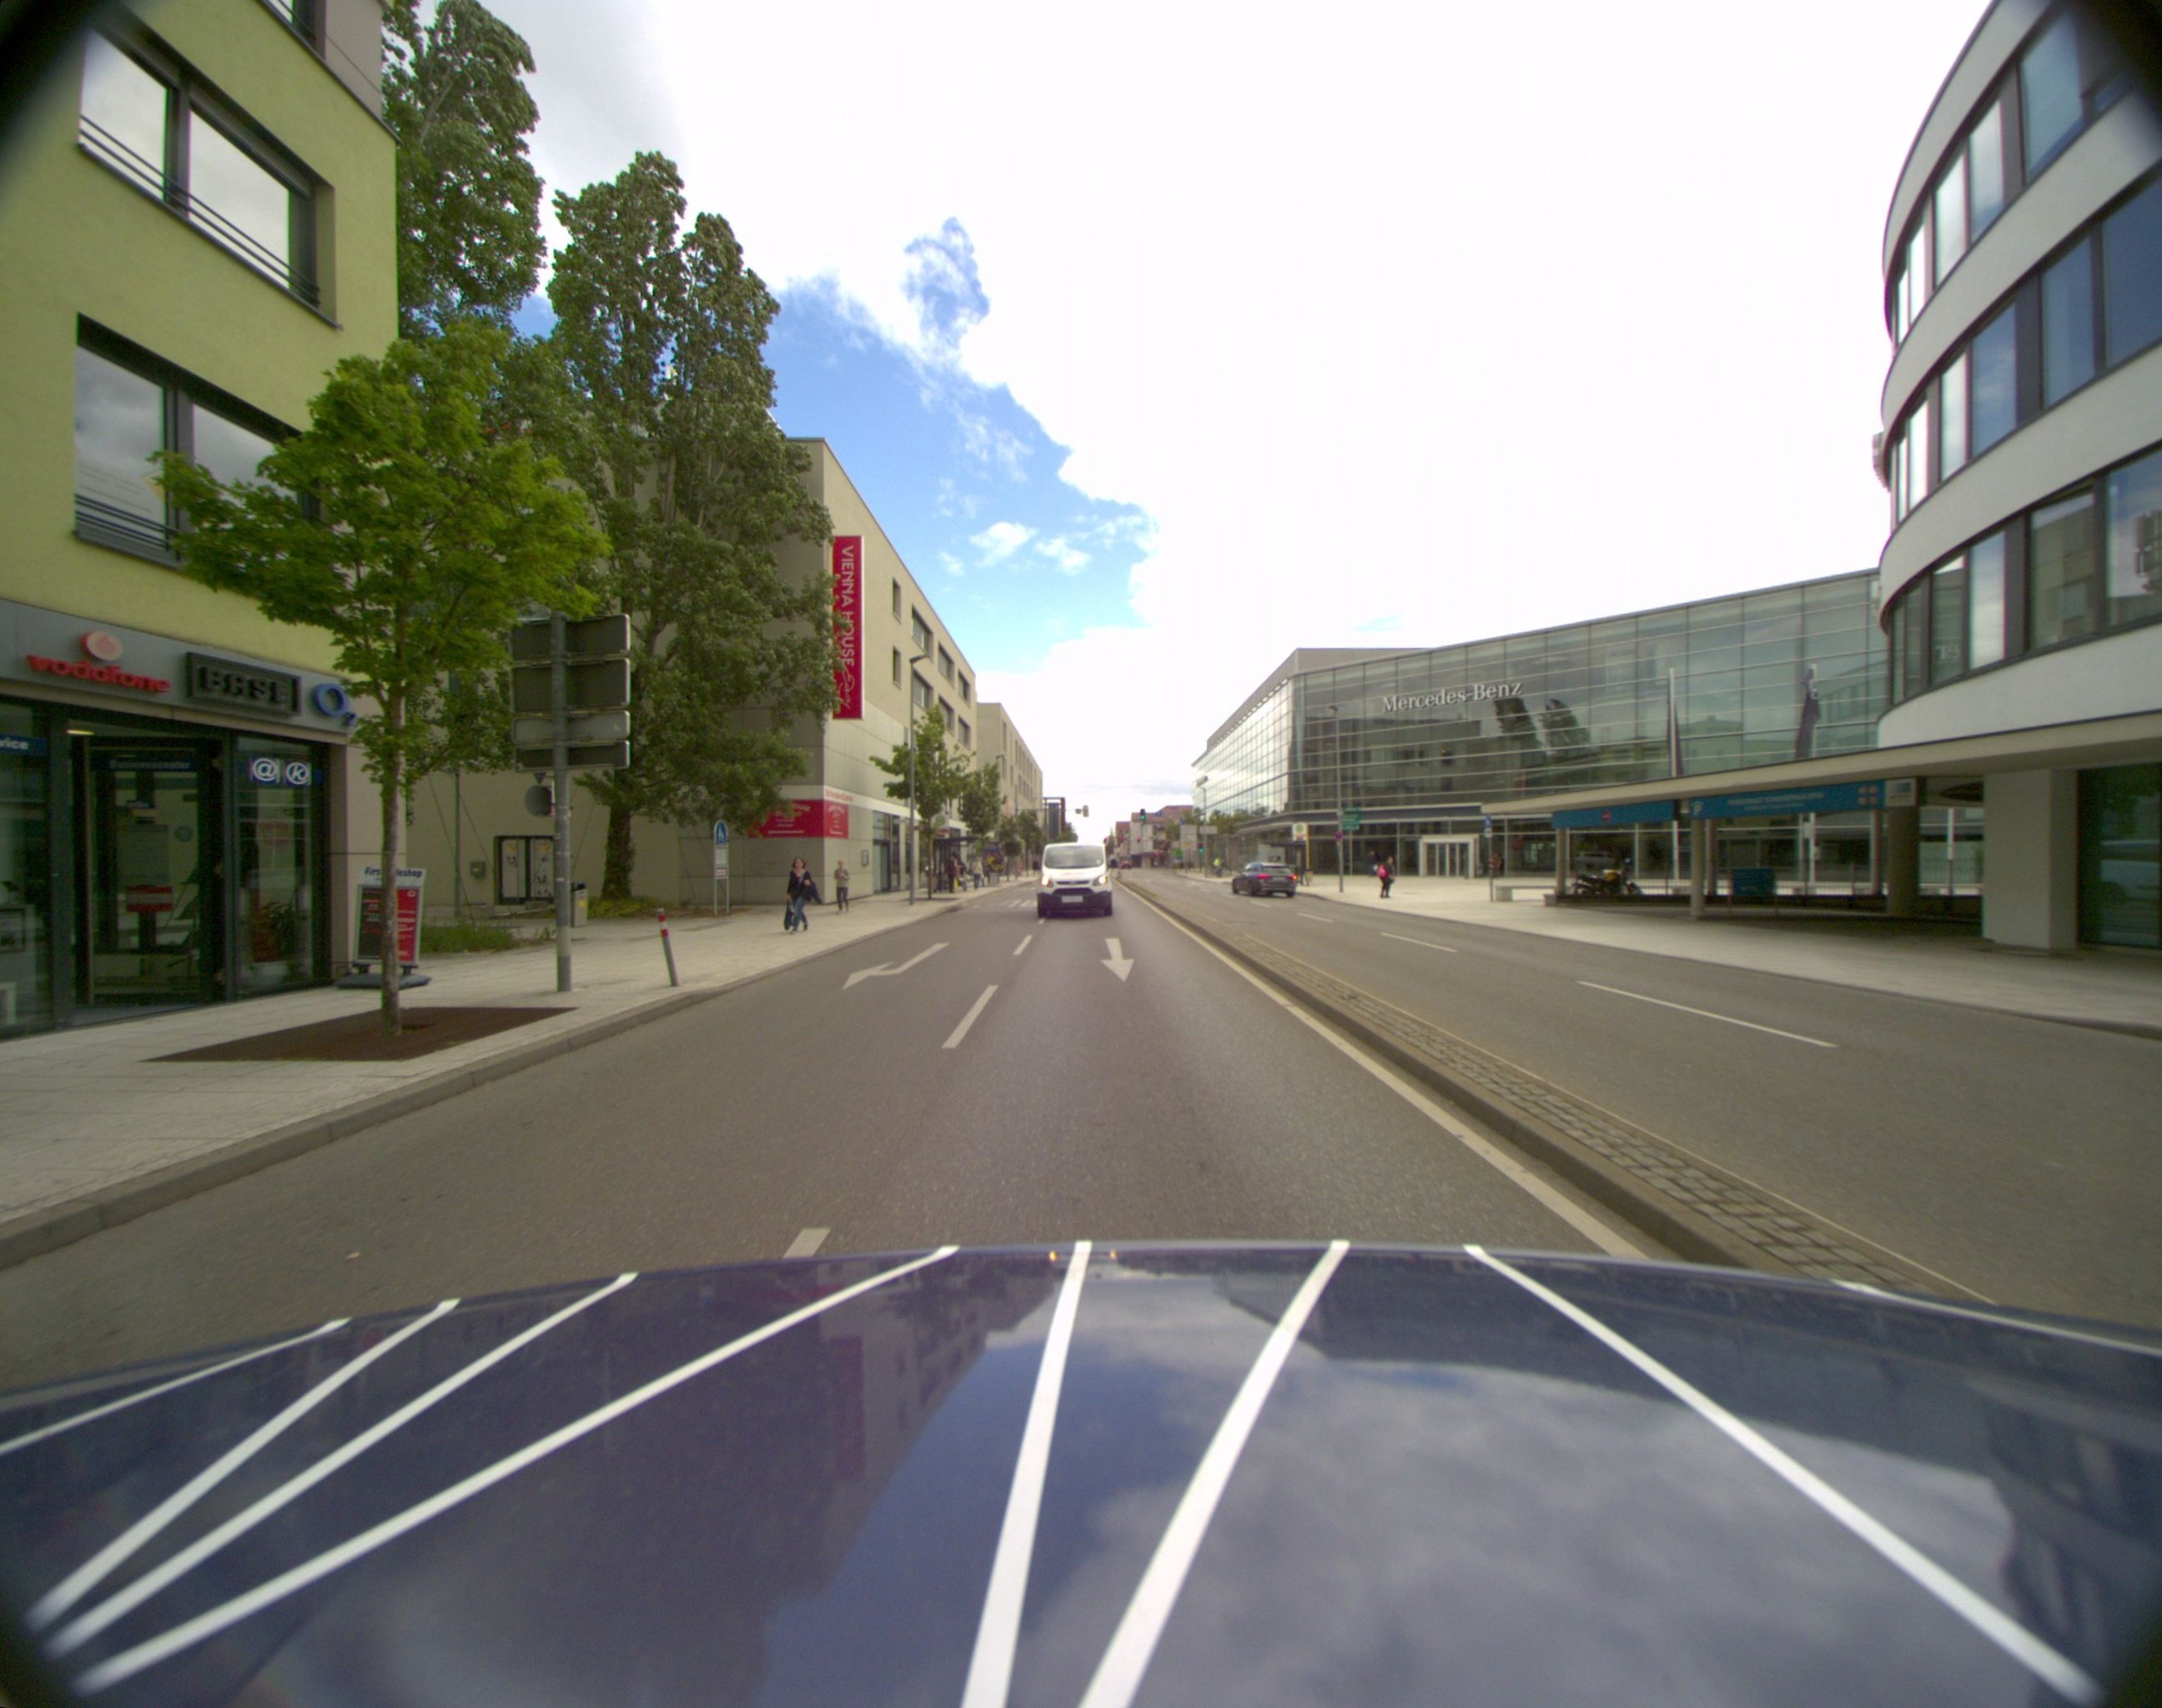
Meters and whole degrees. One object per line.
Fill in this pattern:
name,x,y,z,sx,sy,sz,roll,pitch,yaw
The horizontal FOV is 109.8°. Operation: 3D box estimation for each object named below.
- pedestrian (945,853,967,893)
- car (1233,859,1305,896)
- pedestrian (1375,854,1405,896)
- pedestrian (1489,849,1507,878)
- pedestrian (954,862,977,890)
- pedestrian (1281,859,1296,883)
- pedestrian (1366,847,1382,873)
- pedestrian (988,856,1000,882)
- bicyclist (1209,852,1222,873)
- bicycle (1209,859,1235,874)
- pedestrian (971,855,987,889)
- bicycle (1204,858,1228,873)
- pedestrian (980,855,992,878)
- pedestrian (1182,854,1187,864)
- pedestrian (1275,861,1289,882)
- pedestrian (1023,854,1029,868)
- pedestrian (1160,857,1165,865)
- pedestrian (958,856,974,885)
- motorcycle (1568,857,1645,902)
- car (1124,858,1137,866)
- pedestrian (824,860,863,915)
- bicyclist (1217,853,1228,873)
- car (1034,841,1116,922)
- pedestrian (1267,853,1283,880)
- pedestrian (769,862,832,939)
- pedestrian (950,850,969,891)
pedestrian,-5.340,0.808,32.400,0.722,1.674,0.733,1,1,6
car,7.934,0.955,32.530,1.901,1.407,4.470,-1,0,-1
pedestrian,11.747,0.795,28.874,0.832,1.558,0.813,-2,0,6
pedestrian,28.121,0.658,51.235,0.687,1.934,0.749,-1,1,-12
pedestrian,-5.278,0.995,34.786,0.945,1.252,0.732,1,1,-2
pedestrian,11.964,0.981,43.894,0.686,1.312,0.576,1,0,-1
pedestrian,21.958,0.421,56.955,0.904,1.934,0.748,-2,1,-38
pedestrian,-5.444,0.927,47.375,0.656,1.659,0.614,0,0,1
bicyclist,11.896,0.721,66.978,0.772,1.789,0.749,-2,0,45
bicycle,11.873,1.052,63.978,2.002,1.124,0.639,-3,0,16
pedestrian,-4.886,0.848,36.391,0.580,1.581,0.733,1,1,6
bicycle,11.893,1.035,66.973,0.749,1.199,2.025,-3,0,-45
pedestrian,-6.767,0.891,54.346,0.746,1.659,0.614,0,0,1
pedestrian,15.949,0.789,116.818,0.702,1.614,0.693,0,0,1
pedestrian,11.936,1.024,45.174,0.686,1.246,0.576,1,0,-1
pedestrian,-5.965,0.739,82.289,0.590,1.558,0.732,1,0,1
pedestrian,16.099,1.334,150.119,0.555,1.507,0.582,0,0,-32
pedestrian,-6.380,0.892,42.176,0.742,1.599,0.715,0,0,1
motorcycle,16.299,0.783,23.587,1.858,1.325,0.636,-2,0,4
car,9.056,1.519,138.333,1.803,1.458,3.998,0,0,-5
pedestrian,-6.846,0.952,21.905,0.871,1.574,0.804,0,1,0
bicyclist,11.892,0.781,63.961,0.783,1.639,0.639,-2,0,16
car,-0.117,0.694,21.561,2.000,1.976,5.001,-2,0,1
pedestrian,11.700,0.737,45.800,0.688,1.621,0.574,1,1,-40
pedestrian,-5.955,0.967,16.195,0.949,1.574,1.016,0,1,0
pedestrian,-5.386,0.722,33.665,0.580,1.759,0.857,1,1,6
